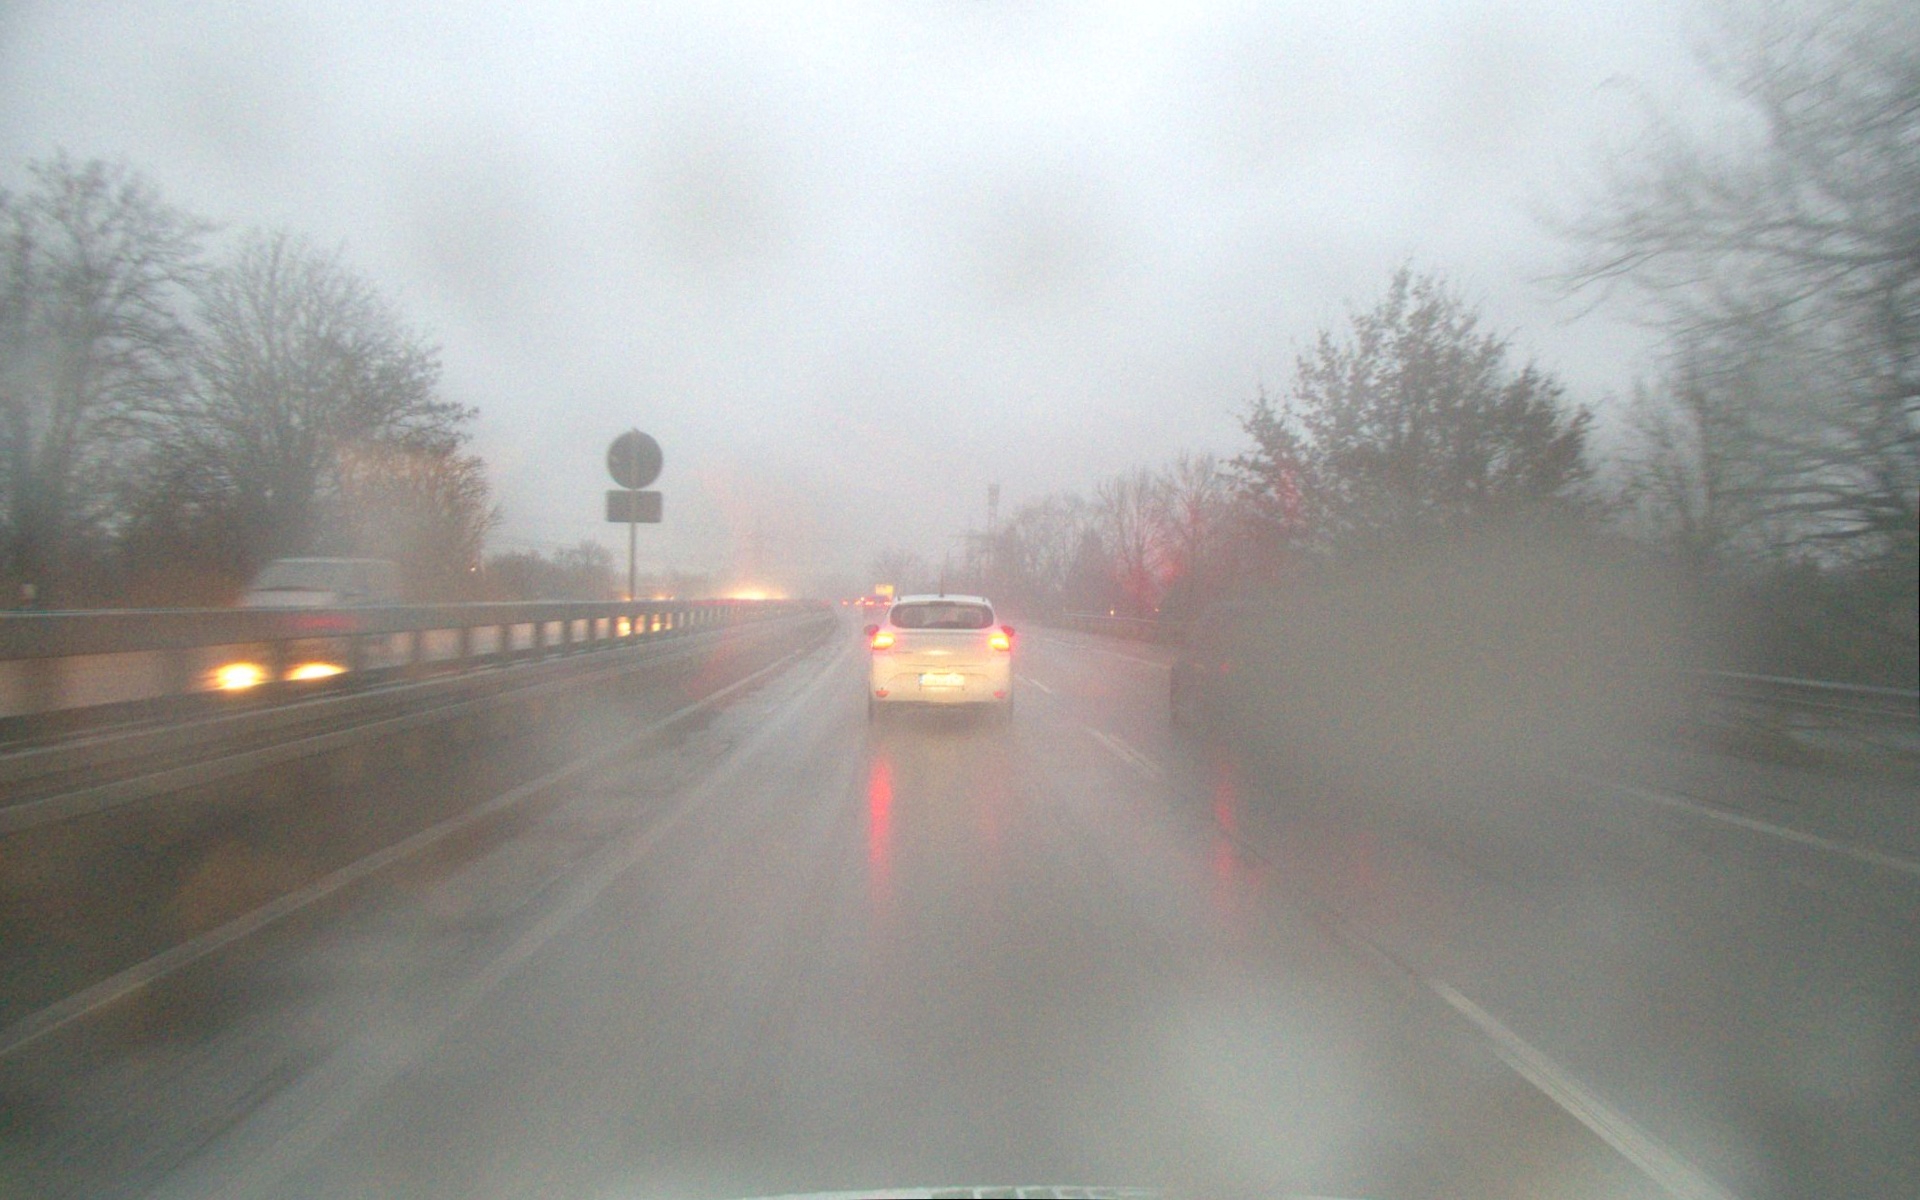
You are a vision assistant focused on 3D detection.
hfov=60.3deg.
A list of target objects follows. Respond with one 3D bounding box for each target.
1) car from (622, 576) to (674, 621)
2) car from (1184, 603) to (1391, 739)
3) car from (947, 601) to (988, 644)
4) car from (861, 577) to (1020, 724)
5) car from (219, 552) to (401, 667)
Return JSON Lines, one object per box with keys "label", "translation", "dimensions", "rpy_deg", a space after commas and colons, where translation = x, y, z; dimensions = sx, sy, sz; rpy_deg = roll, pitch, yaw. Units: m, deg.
{"label": "car", "translation": [-13.975, -0.046, 74.218], "dimensions": [1.711, 1.865, 4.132], "rpy_deg": [3, 0, -4]}
{"label": "car", "translation": [3.989, 0.806, 20.812], "dimensions": [1.807, 1.479, 4.149], "rpy_deg": [1, 0, 1]}
{"label": "car", "translation": [0.348, 1.163, 85.182], "dimensions": [1.836, 1.936, 3.999], "rpy_deg": [6, -1, -1]}
{"label": "car", "translation": [-0.203, 0.569, 20.981], "dimensions": [1.807, 1.664, 3.768], "rpy_deg": [1, 0, 0]}
{"label": "car", "translation": [-12.266, 0.193, 31.550], "dimensions": [1.896, 2.007, 4.533], "rpy_deg": [1, -1, -4]}
